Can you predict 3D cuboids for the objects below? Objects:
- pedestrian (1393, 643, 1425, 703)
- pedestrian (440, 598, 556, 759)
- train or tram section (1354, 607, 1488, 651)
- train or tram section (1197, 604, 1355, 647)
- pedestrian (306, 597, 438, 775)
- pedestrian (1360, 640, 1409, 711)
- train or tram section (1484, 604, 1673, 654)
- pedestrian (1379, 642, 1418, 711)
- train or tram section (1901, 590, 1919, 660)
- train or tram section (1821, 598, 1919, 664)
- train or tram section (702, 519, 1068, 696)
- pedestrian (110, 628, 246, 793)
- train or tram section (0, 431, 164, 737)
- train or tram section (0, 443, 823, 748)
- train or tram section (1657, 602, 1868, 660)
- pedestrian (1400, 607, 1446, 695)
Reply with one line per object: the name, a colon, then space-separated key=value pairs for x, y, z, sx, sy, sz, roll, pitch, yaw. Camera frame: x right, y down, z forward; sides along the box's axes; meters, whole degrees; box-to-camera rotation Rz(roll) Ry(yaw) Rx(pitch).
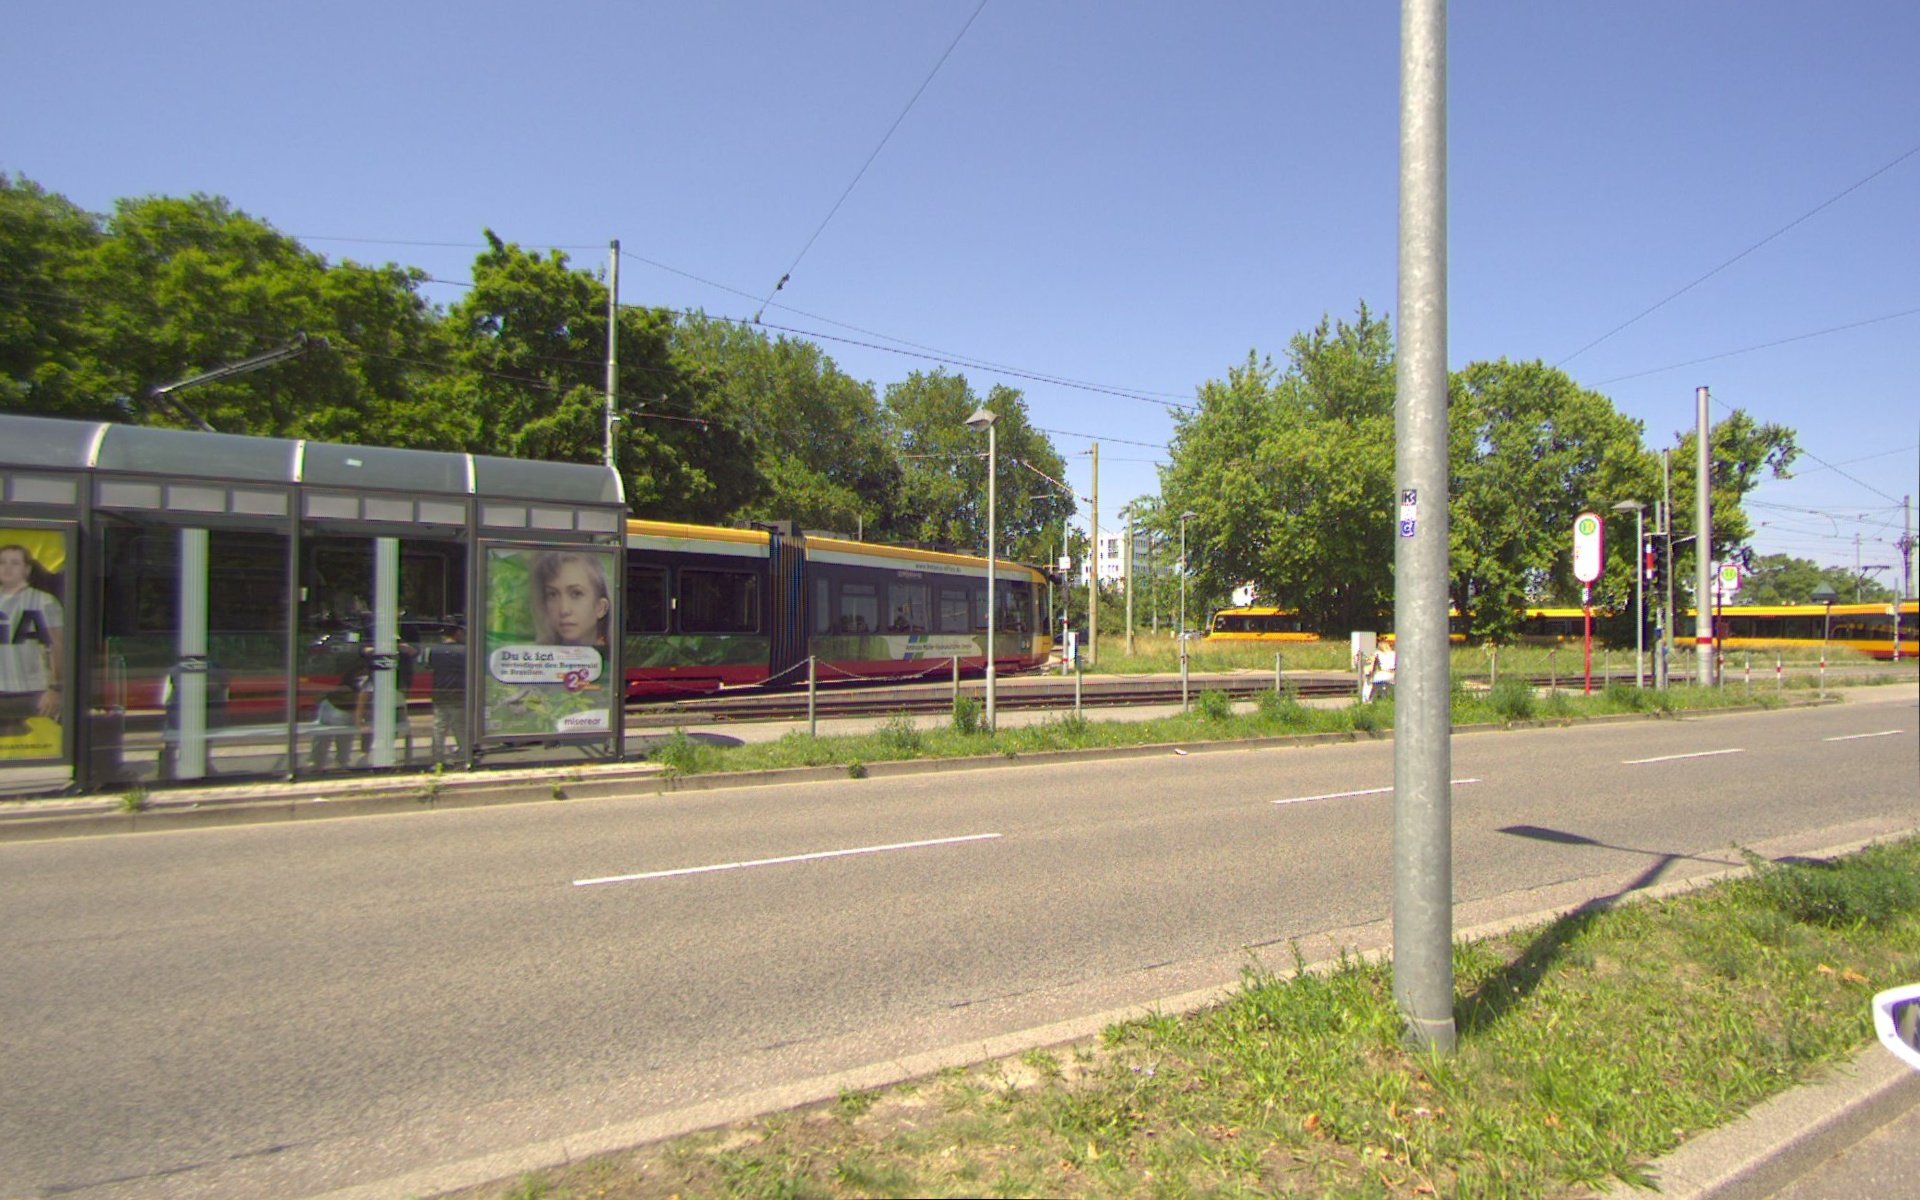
pedestrian: x=8.197 y=1.324 z=18.338 sx=0.373 sy=1.072 sz=0.380 roll=1 pitch=0 yaw=-32
pedestrian: x=-4.829 y=0.780 z=10.485 sx=0.975 sy=1.567 sz=0.925 roll=1 pitch=0 yaw=-32
train or tram section: x=39.611 y=2.459 z=86.650 sx=10.016 sy=3.512 sz=3.048 roll=1 pitch=0 yaw=13
train or tram section: x=27.847 y=2.231 z=88.963 sx=13.000 sy=3.512 sz=3.047 roll=1 pitch=0 yaw=3
pedestrian: x=-5.554 y=0.766 z=9.495 sx=1.015 sy=1.567 sz=0.869 roll=1 pitch=0 yaw=-32
pedestrian: x=7.539 y=1.334 z=17.841 sx=0.530 sy=1.205 sz=0.578 roll=1 pitch=0 yaw=-31
train or tram section: x=49.368 y=2.203 z=80.604 sx=12.569 sy=3.512 sz=3.029 roll=1 pitch=0 yaw=43
pedestrian: x=7.914 y=1.370 z=18.139 sx=0.396 sy=1.205 sz=0.491 roll=1 pitch=0 yaw=-31
train or tram section: x=47.935 y=1.242 z=47.623 sx=2.996 sy=3.512 sz=13.247 roll=1 pitch=0 yaw=35
train or tram section: x=54.095 y=1.716 z=57.632 sx=2.985 sy=3.512 sz=10.228 roll=1 pitch=0 yaw=16
train or tram section: x=-1.202 y=0.217 z=26.937 sx=3.000 sy=3.673 sz=12.422 roll=1 pitch=0 yaw=32
pedestrian: x=-6.650 y=0.903 z=8.582 sx=0.831 sy=1.300 sz=0.697 roll=1 pitch=0 yaw=-33
train or tram section: x=-17.086 y=-0.304 z=10.220 sx=13.747 sy=3.673 sz=3.026 roll=1 pitch=0 yaw=-33
train or tram section: x=-8.247 y=0.020 z=17.596 sx=3.012 sy=3.673 sz=12.376 roll=1 pitch=0 yaw=44
train or tram section: x=54.838 y=1.968 z=69.420 sx=2.991 sy=3.512 sz=12.731 roll=1 pitch=0 yaw=-8
pedestrian: x=8.655 y=0.941 z=18.775 sx=0.576 sy=1.586 sz=0.532 roll=1 pitch=0 yaw=-32
